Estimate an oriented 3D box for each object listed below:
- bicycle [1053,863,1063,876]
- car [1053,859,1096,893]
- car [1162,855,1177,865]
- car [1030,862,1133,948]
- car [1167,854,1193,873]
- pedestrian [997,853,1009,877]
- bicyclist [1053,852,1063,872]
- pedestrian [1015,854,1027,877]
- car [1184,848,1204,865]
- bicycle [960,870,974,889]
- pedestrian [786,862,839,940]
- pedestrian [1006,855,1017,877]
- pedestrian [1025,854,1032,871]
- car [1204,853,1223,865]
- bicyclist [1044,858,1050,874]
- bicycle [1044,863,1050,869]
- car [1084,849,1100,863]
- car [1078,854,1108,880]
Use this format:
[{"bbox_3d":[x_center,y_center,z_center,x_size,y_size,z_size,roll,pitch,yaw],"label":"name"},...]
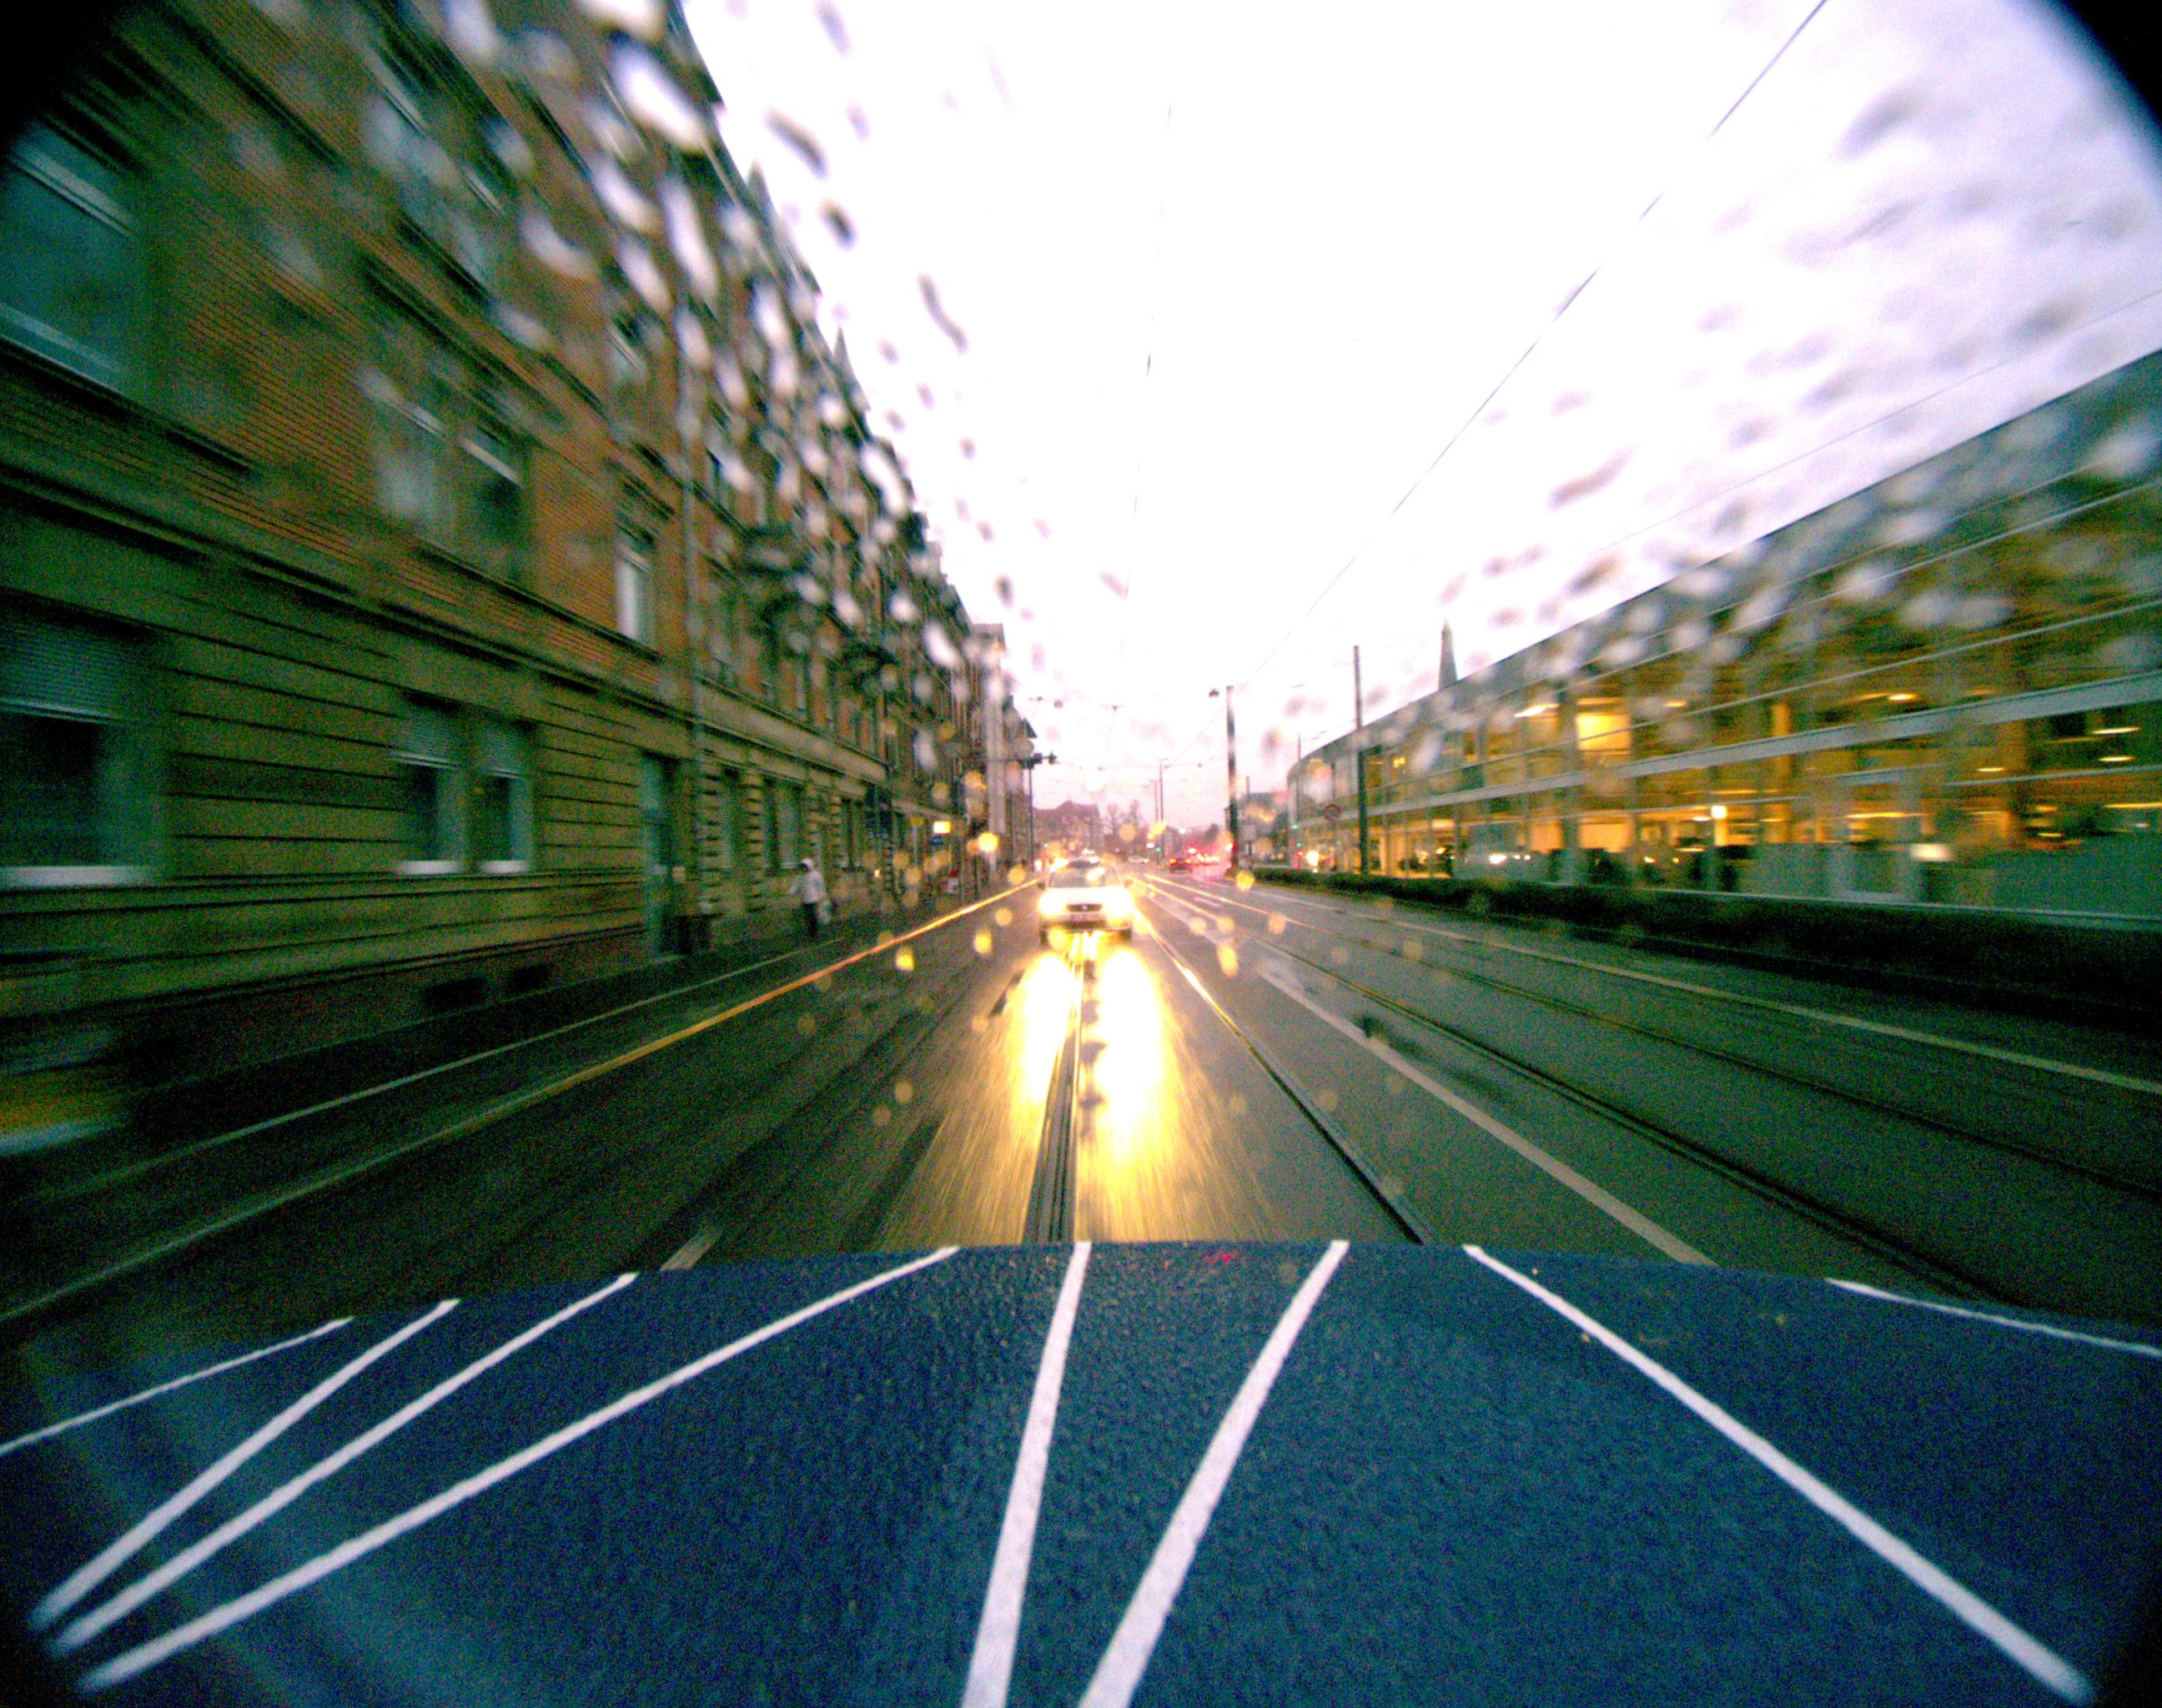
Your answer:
[{"bbox_3d":[-1.840,1.214,61.686,0.725,0.985,2.212,-2,0,0],"label":"bicycle"},{"bbox_3d":[-0.257,1.026,36.664,1.797,1.415,4.000,-2,0,3],"label":"car"},{"bbox_3d":[12.446,0.865,107.029,1.876,1.382,4.001,0,0,4],"label":"car"},{"bbox_3d":[0.101,0.943,15.657,1.797,1.415,4.000,-2,0,3],"label":"car"},{"bbox_3d":[8.630,0.792,66.299,1.845,1.569,4.442,-2,0,2],"label":"car"},{"bbox_3d":[-5.801,0.820,56.832,0.777,1.734,0.673,-1,1,1],"label":"pedestrian"},{"bbox_3d":[-1.858,0.642,61.683,0.727,1.525,0.785,-2,1,0],"label":"bicyclist"},{"bbox_3d":[-4.564,0.844,57.998,0.777,1.734,0.673,-1,1,1],"label":"pedestrian"},{"bbox_3d":[14.359,0.273,96.731,1.998,2.002,4.685,-2,1,4],"label":"car"},{"bbox_3d":[-5.935,1.305,39.521,0.398,0.906,1.866,-2,0,1],"label":"bicycle"},{"bbox_3d":[-5.689,0.985,16.149,0.788,1.588,0.742,-2,1,4],"label":"pedestrian"},{"bbox_3d":[-5.428,0.920,59.366,0.777,1.734,0.673,-1,1,1],"label":"pedestrian"},{"bbox_3d":[-4.930,0.785,71.434,0.633,1.539,0.710,-2,1,-5],"label":"pedestrian"},{"bbox_3d":[17.918,0.642,102.856,1.998,1.413,4.588,-2,0,4],"label":"car"},{"bbox_3d":[-4.168,1.482,93.603,0.747,1.869,1.111,-2,1,-1],"label":"bicyclist"},{"bbox_3d":[-4.221,1.472,93.576,0.609,0.757,1.860,-2,1,-1],"label":"bicycle"},{"bbox_3d":[1.413,0.242,101.096,2.018,1.809,3.688,-2,1,1],"label":"car"},{"bbox_3d":[0.745,0.813,48.991,1.824,1.565,4.000,-2,0,1],"label":"car"}]
